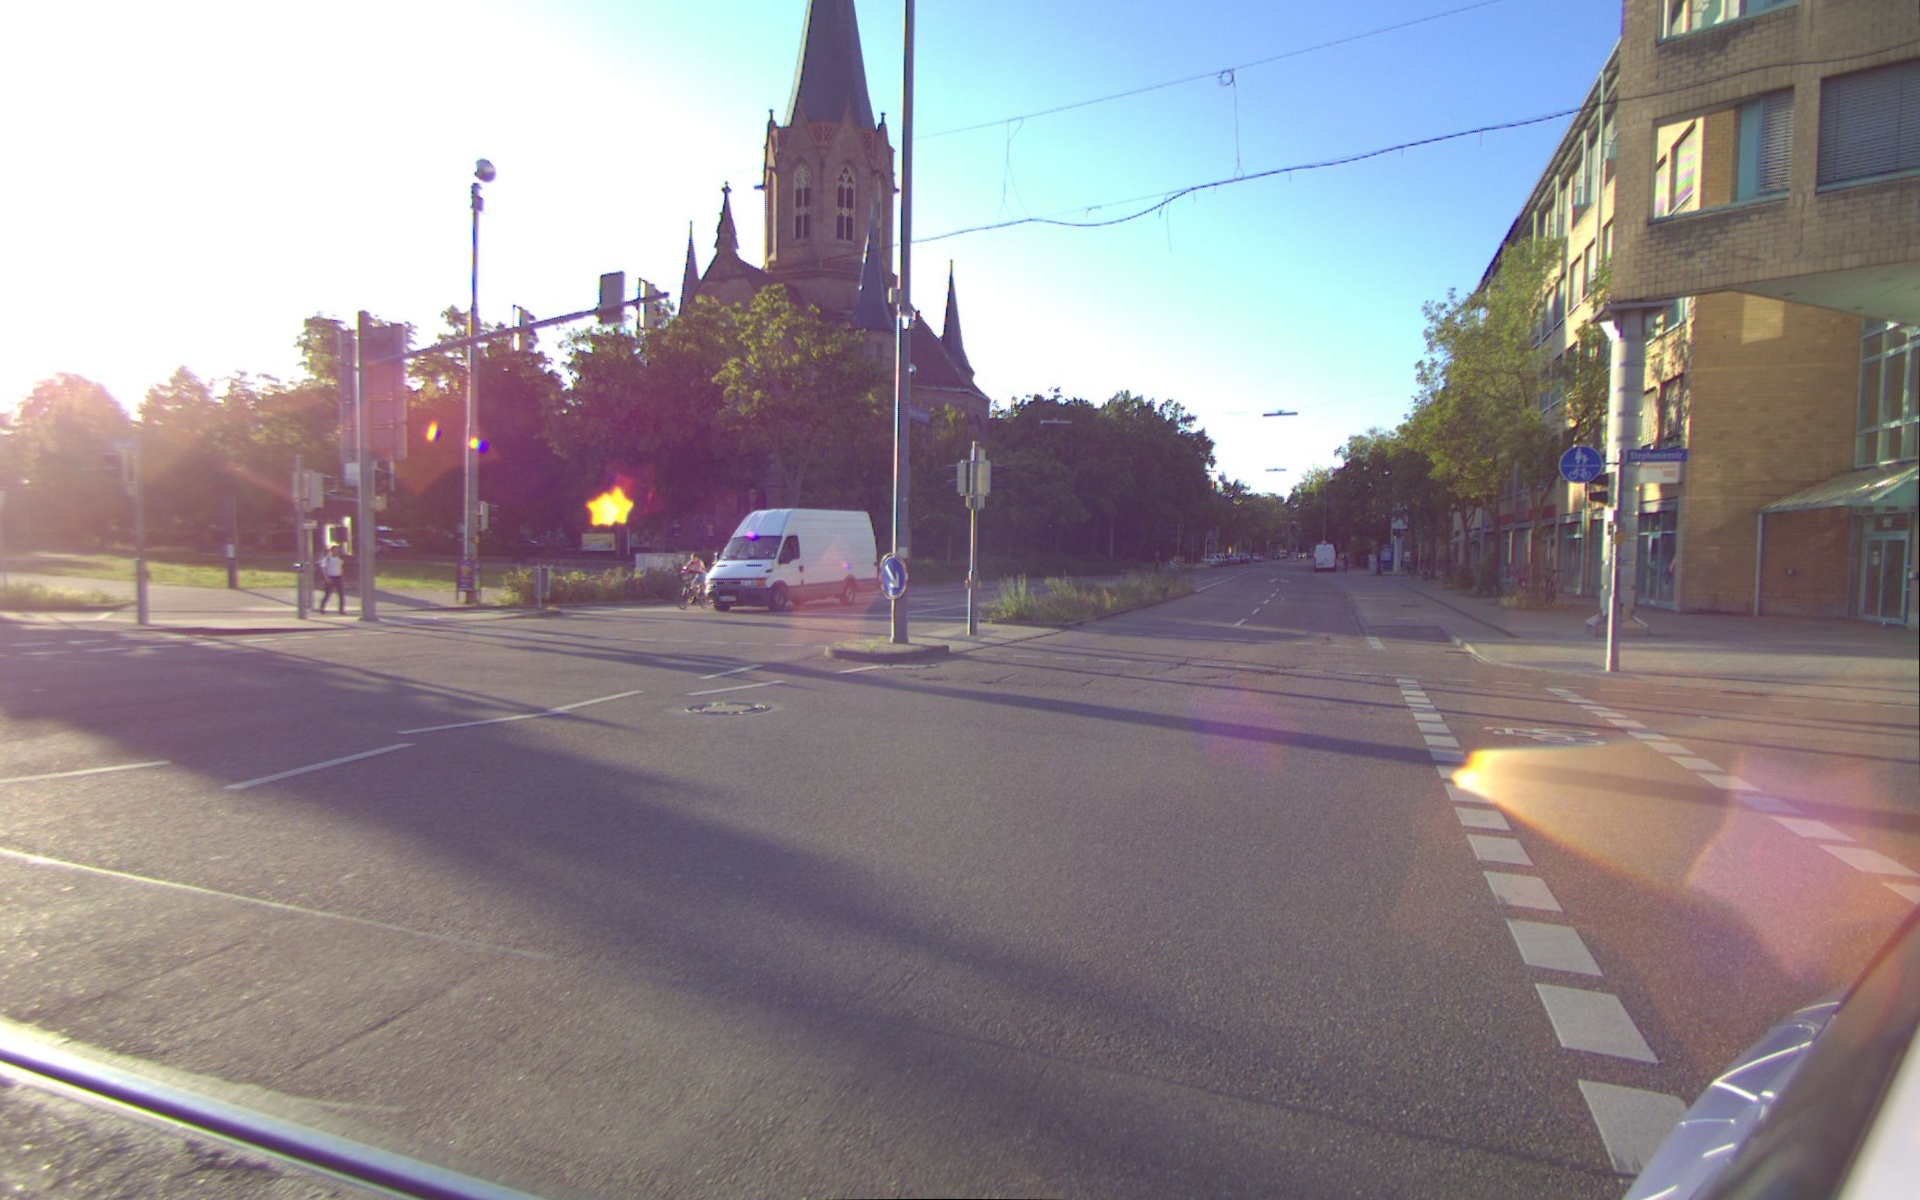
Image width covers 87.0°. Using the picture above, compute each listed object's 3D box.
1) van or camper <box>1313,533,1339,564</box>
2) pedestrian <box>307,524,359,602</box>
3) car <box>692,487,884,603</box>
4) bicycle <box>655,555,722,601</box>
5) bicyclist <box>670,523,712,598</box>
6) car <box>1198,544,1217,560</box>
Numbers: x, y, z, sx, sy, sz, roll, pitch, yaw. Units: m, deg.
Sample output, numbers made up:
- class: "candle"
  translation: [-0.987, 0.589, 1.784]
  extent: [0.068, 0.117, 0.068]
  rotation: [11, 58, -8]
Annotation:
- class: "van or camper"
  translation: [34.908, -4.887, 96.404]
  extent: [2.130, 2.877, 4.374]
  rotation: [2, 3, 21]
- class: "pedestrian"
  translation: [-15.218, -0.912, 24.583]
  extent: [0.806, 1.825, 0.825]
  rotation: [3, 4, 36]
- class: "car"
  translation: [-4.608, -1.534, 28.735]
  extent: [2.068, 2.862, 6.986]
  rotation: [1, 3, 22]
- class: "bicycle"
  translation: [-7.515, -0.630, 28.094]
  extent: [0.727, 1.190, 1.957]
  rotation: [3, 4, 25]
- class: "bicyclist"
  translation: [-7.472, -1.104, 28.121]
  extent: [0.715, 2.038, 0.894]
  rotation: [3, 3, 25]
- class: "car"
  translation: [27.515, -5.319, 112.336]
  extent: [1.880, 1.637, 3.983]
  rotation: [2, 3, 15]
